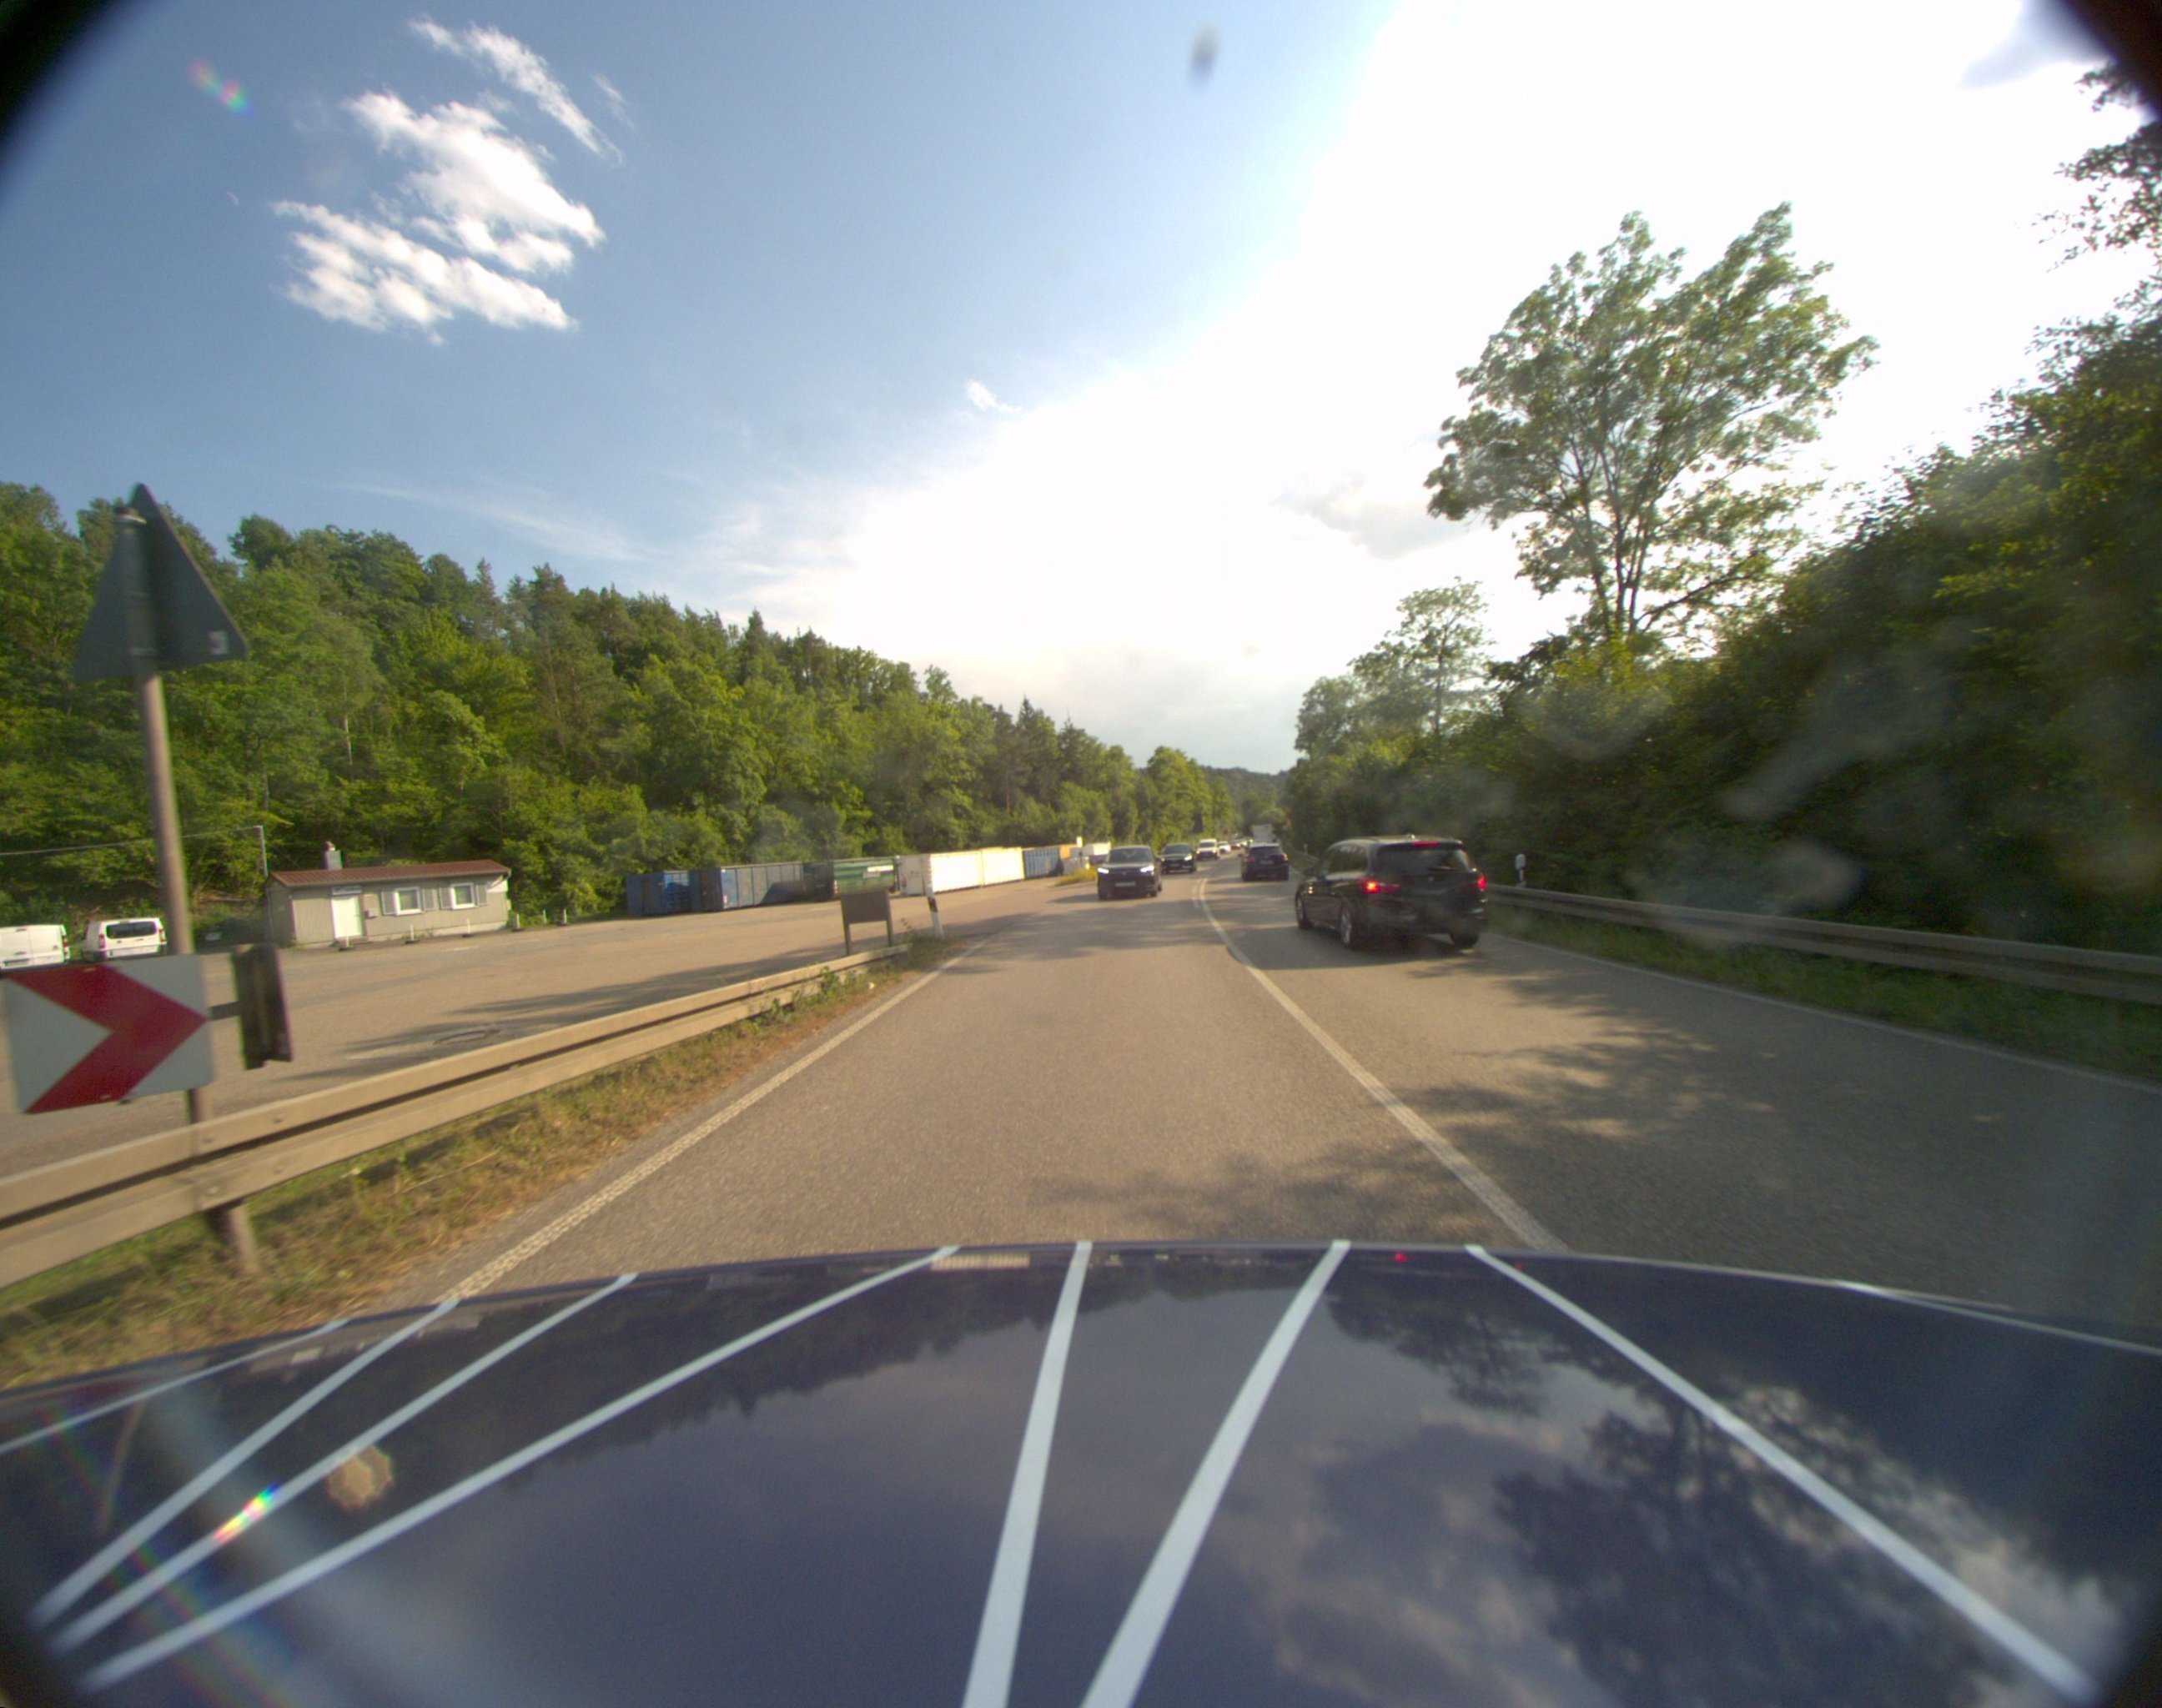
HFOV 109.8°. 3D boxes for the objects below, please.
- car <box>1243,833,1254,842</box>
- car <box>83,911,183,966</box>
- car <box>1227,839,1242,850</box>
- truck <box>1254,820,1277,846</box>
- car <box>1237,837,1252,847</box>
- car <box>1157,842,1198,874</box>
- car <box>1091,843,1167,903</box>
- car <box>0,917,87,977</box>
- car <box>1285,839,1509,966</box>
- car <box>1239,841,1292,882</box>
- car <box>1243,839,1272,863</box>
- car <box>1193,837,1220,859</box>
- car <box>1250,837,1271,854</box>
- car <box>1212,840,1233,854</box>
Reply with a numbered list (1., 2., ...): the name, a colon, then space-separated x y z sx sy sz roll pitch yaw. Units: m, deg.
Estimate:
1. car: 32.121 -3.169 145.615 1.894 1.437 4.480 -2 1 15
2. car: -40.721 3.612 32.627 4.548 2.002 2.003 -4 1 32
3. car: 22.822 -1.469 112.958 1.857 1.412 4.423 -4 1 16
4. truck: 23.040 -2.652 94.720 2.459 3.055 6.270 -2 1 16
5. car: 27.679 -2.015 128.402 1.913 1.457 4.541 -4 1 18
6. car: 5.344 0.187 41.700 1.847 1.561 4.260 -2 1 12
7. car: 1.676 0.545 24.878 1.858 1.631 4.444 -3 1 11
8. car: -42.067 3.702 30.412 4.088 2.002 2.003 -4 1 28
9. car: 4.604 0.606 11.830 1.872 1.580 4.248 -2 1 3
10. car: 7.555 0.261 31.440 1.853 1.499 4.406 -1 1 11
11. car: 11.785 -0.244 50.518 1.663 1.437 3.925 -2 1 15
12. car: 11.001 -0.581 66.432 1.866 1.710 4.767 -4 1 14
13. car: 17.059 -0.849 72.257 1.795 1.437 3.797 -2 1 13
14. car: 16.341 -0.798 87.669 1.895 1.437 4.479 -4 1 14
